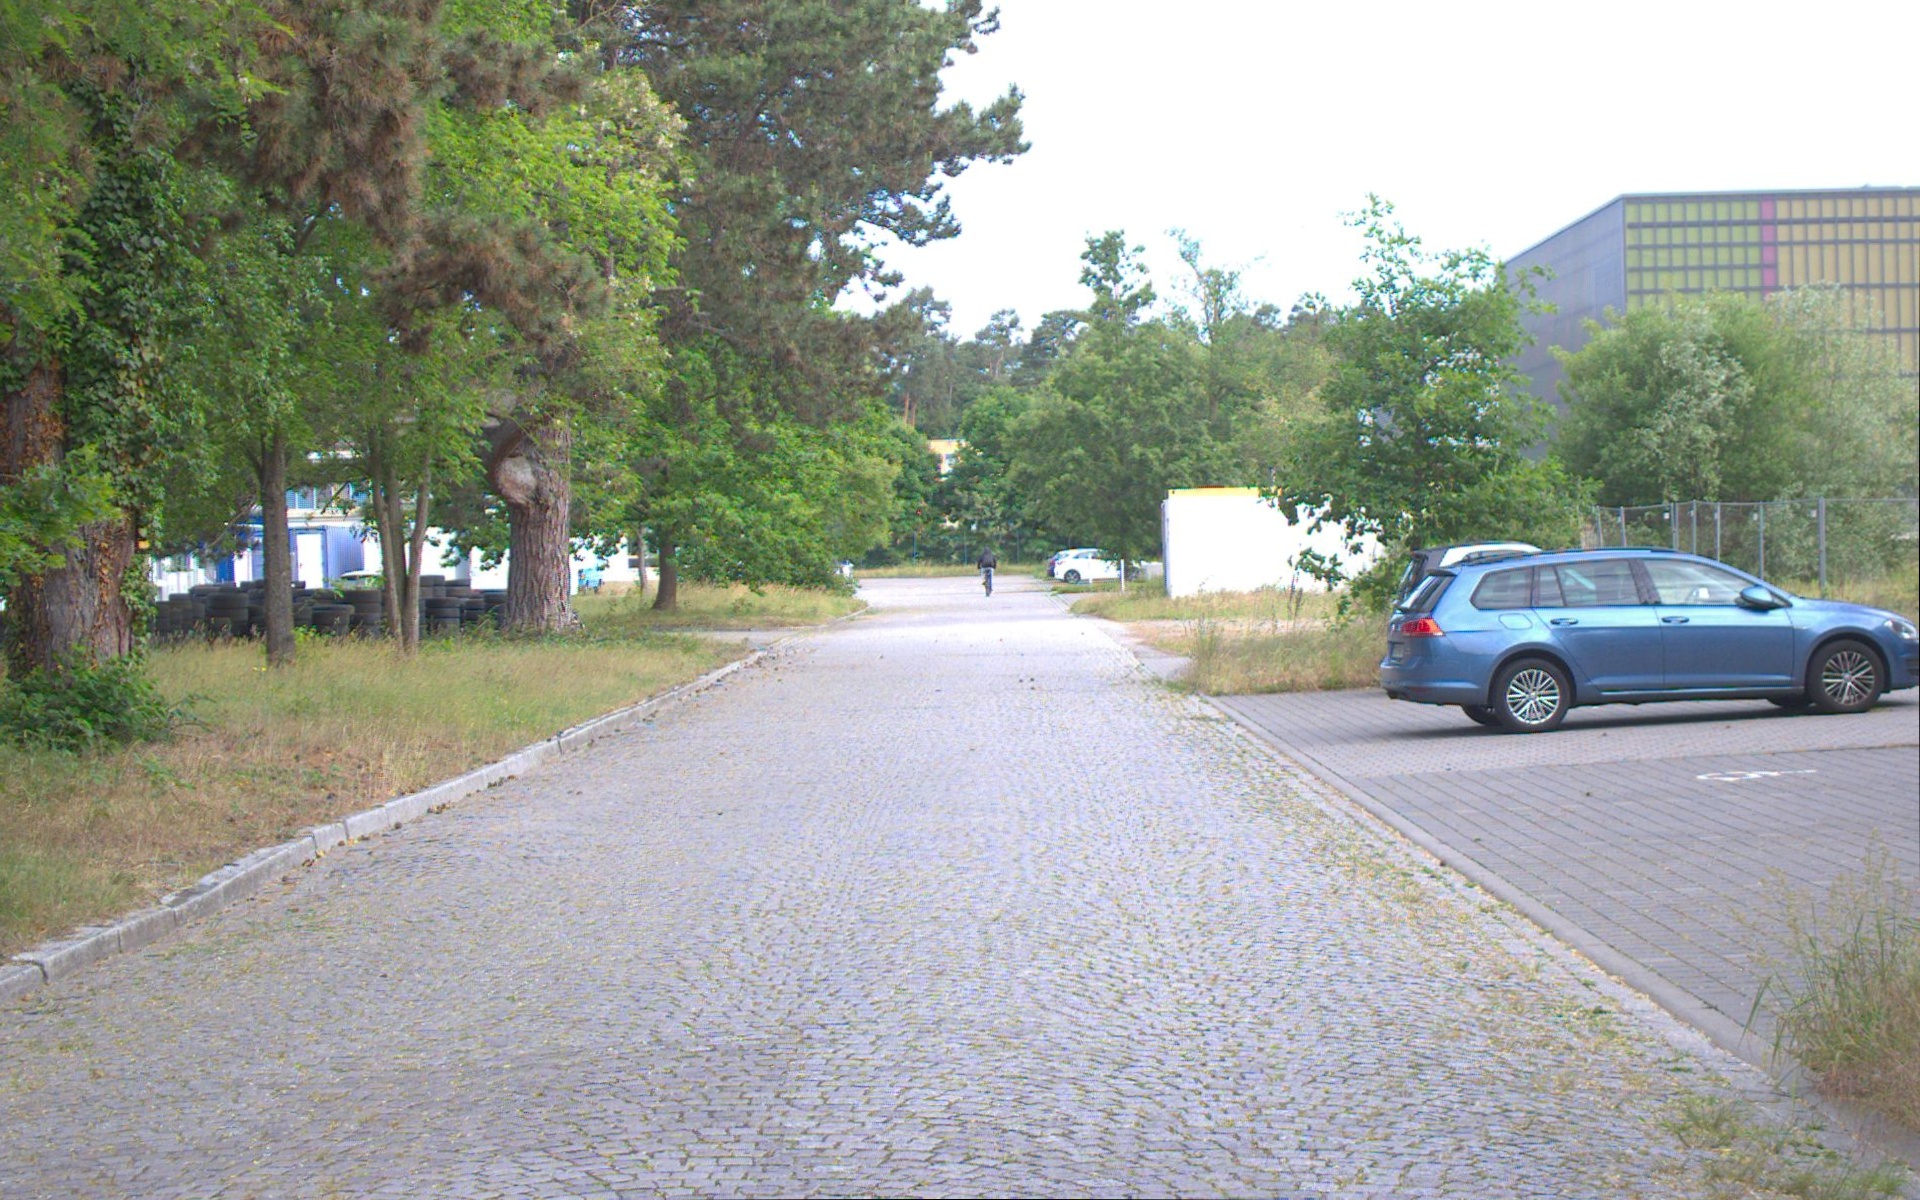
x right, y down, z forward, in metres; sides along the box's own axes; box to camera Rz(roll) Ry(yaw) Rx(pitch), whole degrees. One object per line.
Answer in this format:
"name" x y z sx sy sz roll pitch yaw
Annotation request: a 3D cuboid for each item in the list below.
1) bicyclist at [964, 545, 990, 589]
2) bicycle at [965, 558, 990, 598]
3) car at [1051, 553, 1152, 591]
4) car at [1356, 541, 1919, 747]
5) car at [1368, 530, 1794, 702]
"bicyclist" 0.620 -1.197 123.146 0.897 1.537 0.868 -1 2 -1
"bicycle" 0.632 -0.784 123.088 0.823 1.372 2.043 -1 2 -1
"car" 6.138 -1.225 148.944 4.322 1.544 2.000 -1 1 2
"car" 5.764 0.342 29.124 4.480 1.457 1.935 -3 1 -2
"car" 6.555 0.152 36.566 4.107 1.567 1.765 -3 1 -2
